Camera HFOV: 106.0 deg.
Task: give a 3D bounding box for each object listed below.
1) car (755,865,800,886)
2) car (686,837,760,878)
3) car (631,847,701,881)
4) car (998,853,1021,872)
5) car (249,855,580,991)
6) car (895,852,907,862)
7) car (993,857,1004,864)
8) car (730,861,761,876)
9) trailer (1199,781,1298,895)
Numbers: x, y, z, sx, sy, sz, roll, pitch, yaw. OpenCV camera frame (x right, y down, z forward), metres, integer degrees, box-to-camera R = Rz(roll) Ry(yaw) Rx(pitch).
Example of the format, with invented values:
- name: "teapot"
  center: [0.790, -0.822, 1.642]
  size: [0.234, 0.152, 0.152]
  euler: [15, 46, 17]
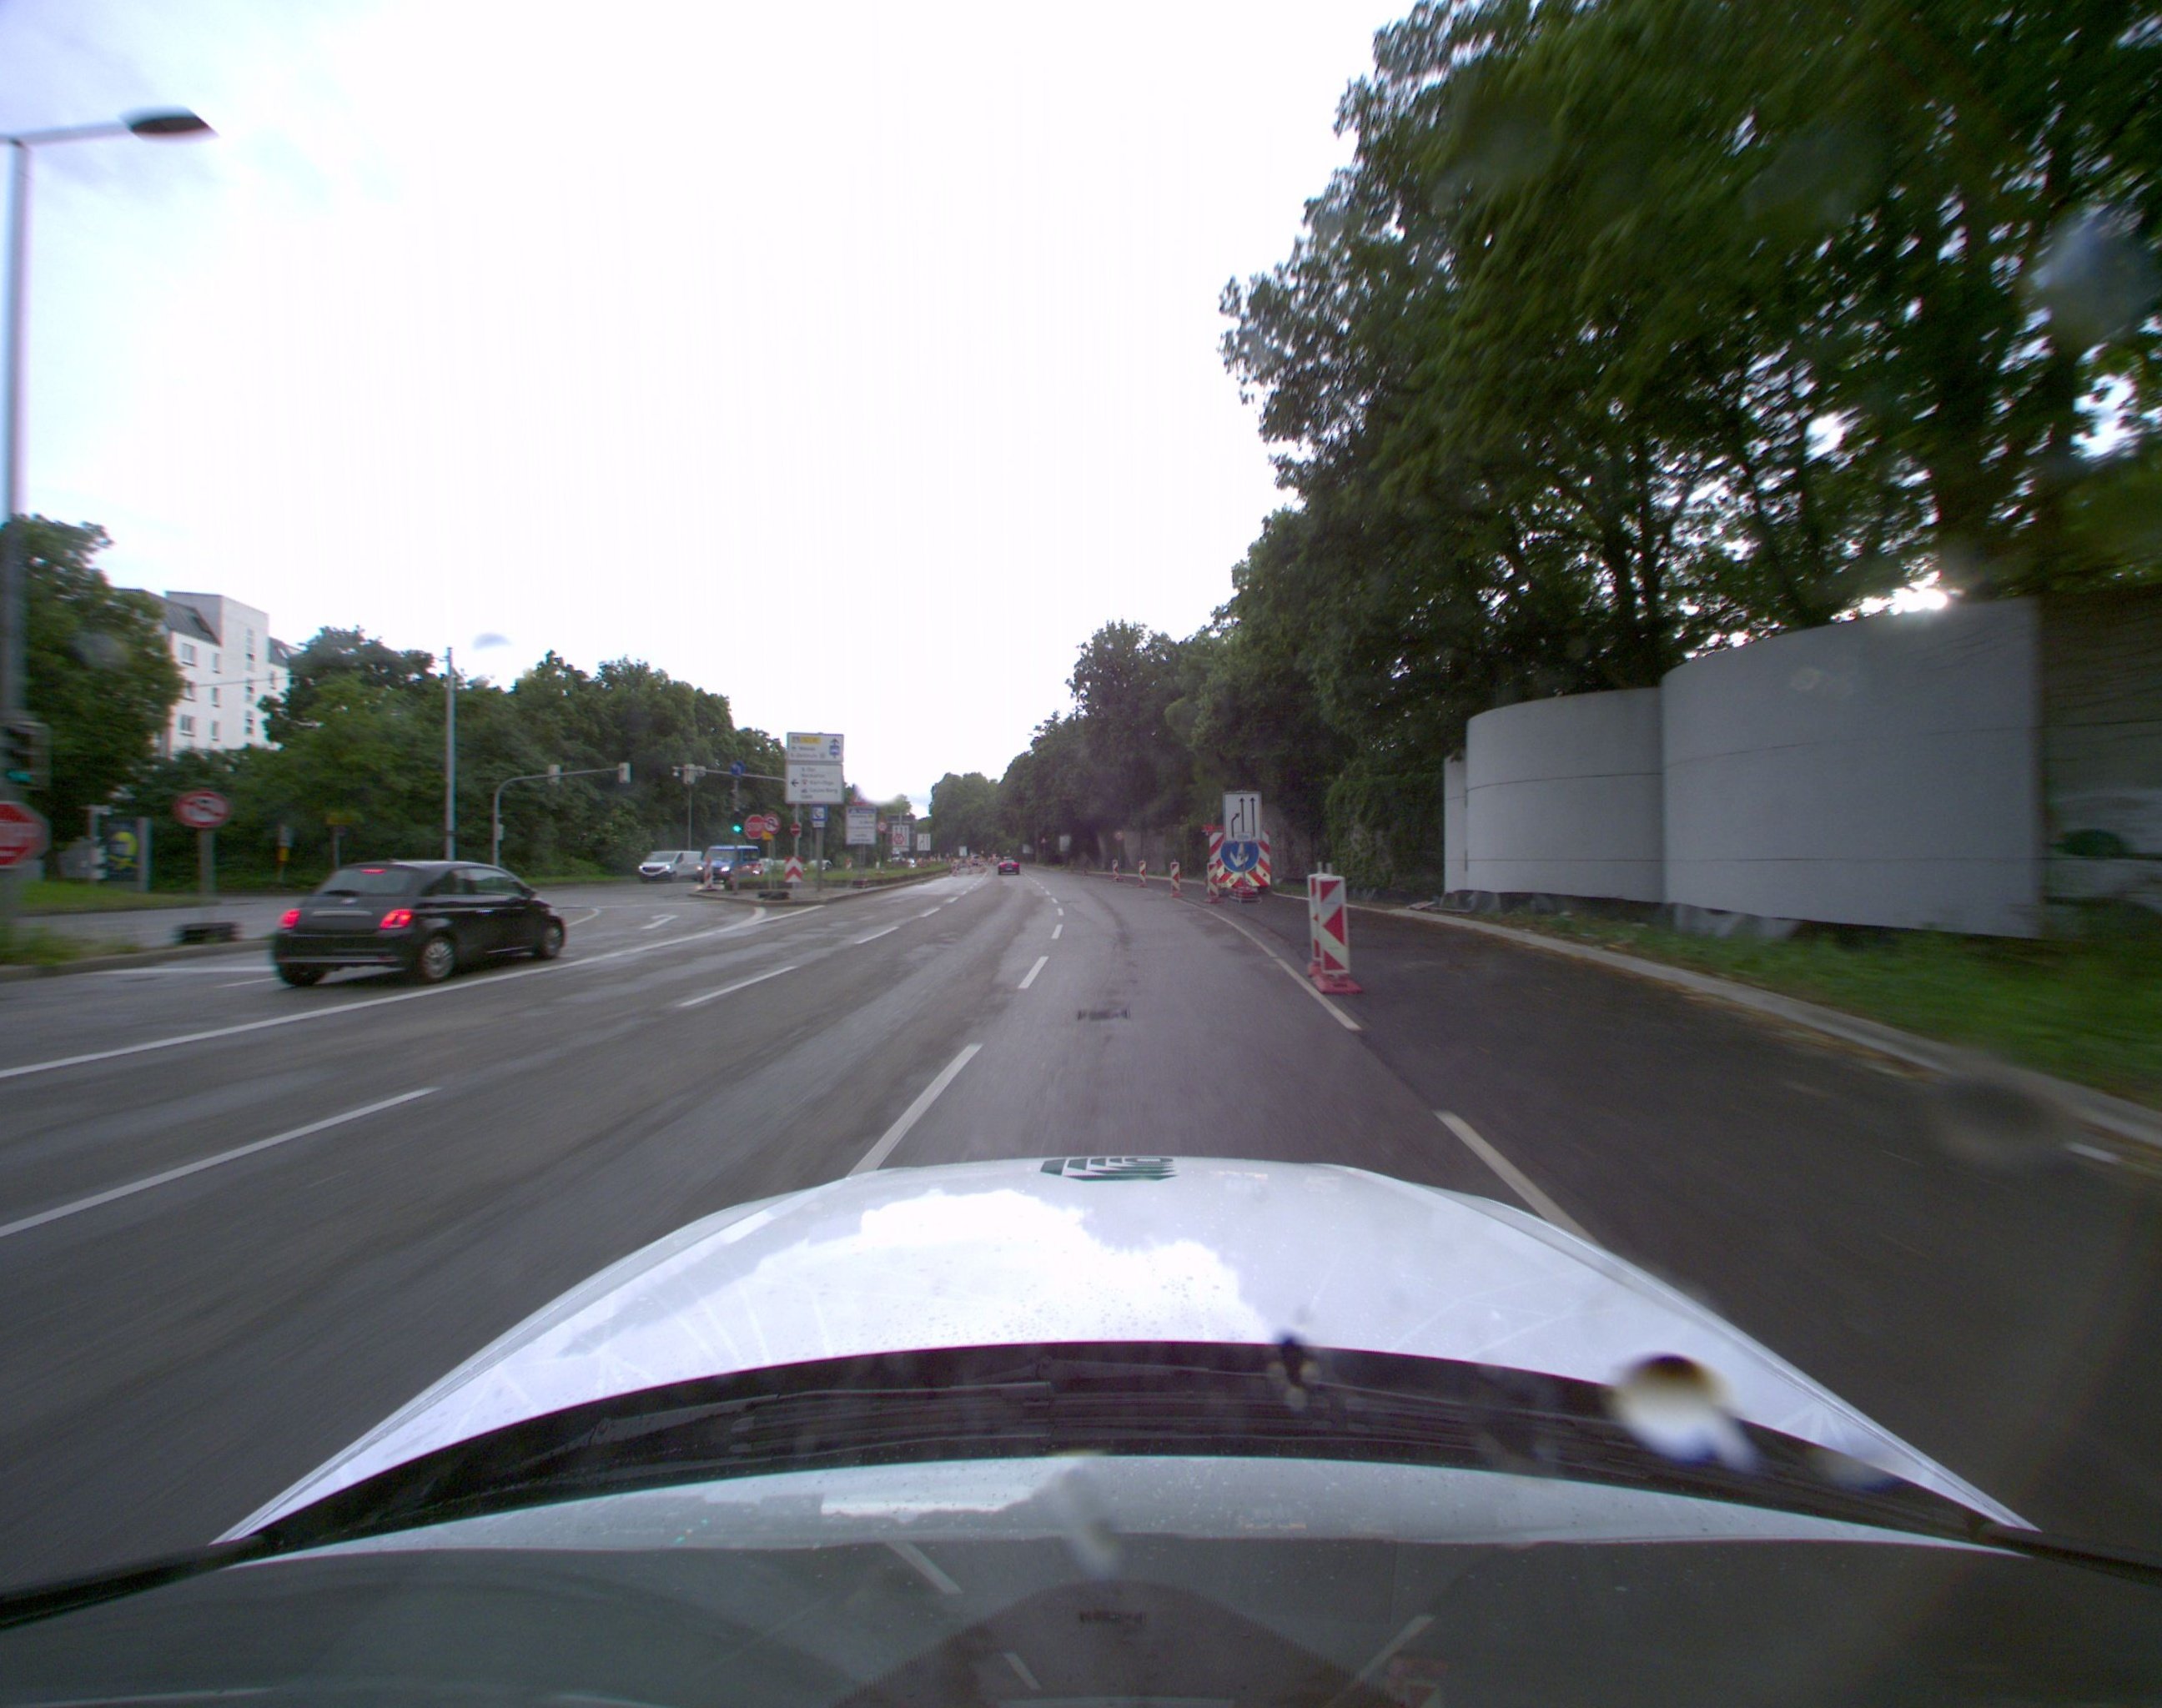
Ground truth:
- name: "car"
  center: [-18.746, 1.311, 50.501]
  size: [1.547, 1.200, 4.634]
  euler: [0, -1, -7]
- name: "car"
  center: [-22.143, 0.179, 50.690]
  size: [2.191, 2.390, 6.236]
  euler: [0, 1, -4]
- name: "car"
  center: [-25.347, 0.578, 49.944]
  size: [2.030, 1.974, 4.984]
  euler: [0, 1, -4]
- name: "car"
  center: [-6.231, 0.726, 71.240]
  size: [1.858, 1.491, 3.996]
  euler: [1, 2, -3]
- name: "car"
  center: [-8.470, 0.774, 10.796]
  size: [1.582, 1.440, 3.501]
  euler: [0, 1, -2]
- name: "car"
  center: [-36.068, 0.598, 162.962]
  size: [1.913, 1.781, 4.821]
  euler: [0, 0, -8]
- name: "car"
  center: [-17.697, 1.374, 174.609]
  size: [1.863, 1.491, 3.986]
  euler: [0, 2, -11]
- name: "car"
  center: [-25.414, 1.089, 61.761]
  size: [1.267, 1.085, 2.790]
  euler: [1, 0, -3]
- name: "trailer"
  center: [5.772, -0.498, 28.976]
  size: [2.299, 3.589, 5.960]
  euler: [-2, 0, 1]
